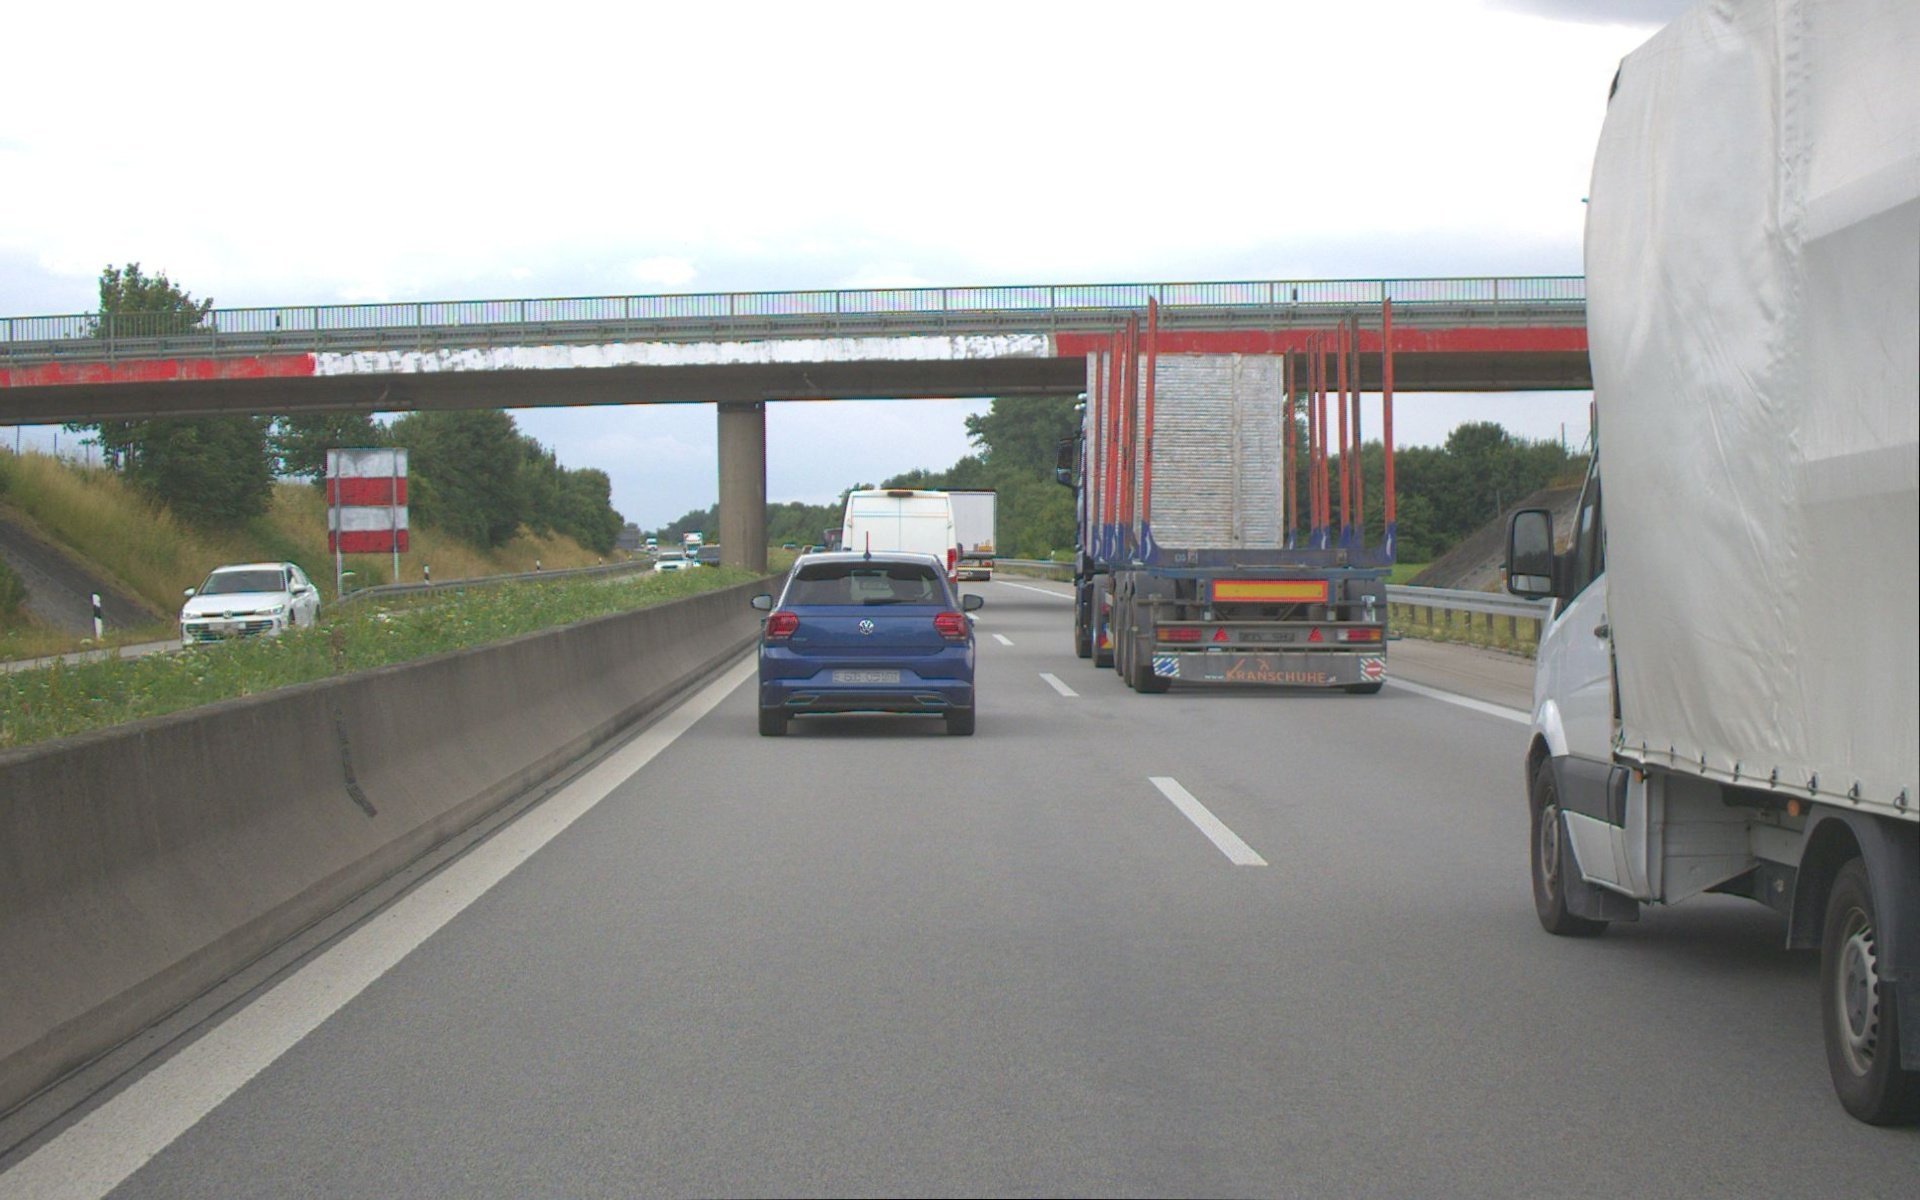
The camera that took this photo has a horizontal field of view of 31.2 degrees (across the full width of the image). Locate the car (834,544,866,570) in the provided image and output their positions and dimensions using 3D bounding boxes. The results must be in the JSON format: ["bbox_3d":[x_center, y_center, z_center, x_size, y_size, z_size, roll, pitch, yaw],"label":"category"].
[{"bbox_3d":[-7.220,-2.847,226.007,1.993,1.678,4.000,0,1,-1],"label":"car"}]

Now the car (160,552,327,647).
[{"bbox_3d":[-12.248,-0.038,59.036,1.895,1.456,4.542,-3,1,0],"label":"car"}]

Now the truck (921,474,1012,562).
[{"bbox_3d":[0.227,-3.595,152.841,3.110,3.677,9.324,-2,1,-5],"label":"truck"}]

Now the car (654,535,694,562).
[{"bbox_3d":[-16.308,-2.941,196.038,1.895,1.456,4.542,-3,1,0],"label":"car"}]

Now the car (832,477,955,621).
[{"bbox_3d":[-1.182,-0.935,62.413,2.130,2.474,5.840,0,1,-1],"label":"car"}]

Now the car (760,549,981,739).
[{"bbox_3d":[-0.719,0.306,27.941,1.663,1.402,3.649,0,1,-1],"label":"car"}]

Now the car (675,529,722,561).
[{"bbox_3d":[-12.684,-2.658,166.968,1.895,1.456,4.542,-3,1,0],"label":"car"}]

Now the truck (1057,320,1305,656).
[{"bbox_3d":[2.749,-1.424,44.272,2.673,4.032,5.513,-1,2,-1],"label":"truck"}]

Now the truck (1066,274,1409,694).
[{"bbox_3d":[2.861,-1.275,38.821,2.673,4.031,11.109,-1,2,-1],"label":"truck"}]

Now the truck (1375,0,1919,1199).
[{"bbox_3d":[3.103,-0.300,10.793,2.429,3.232,7.248,0,1,-2],"label":"truck"}]
